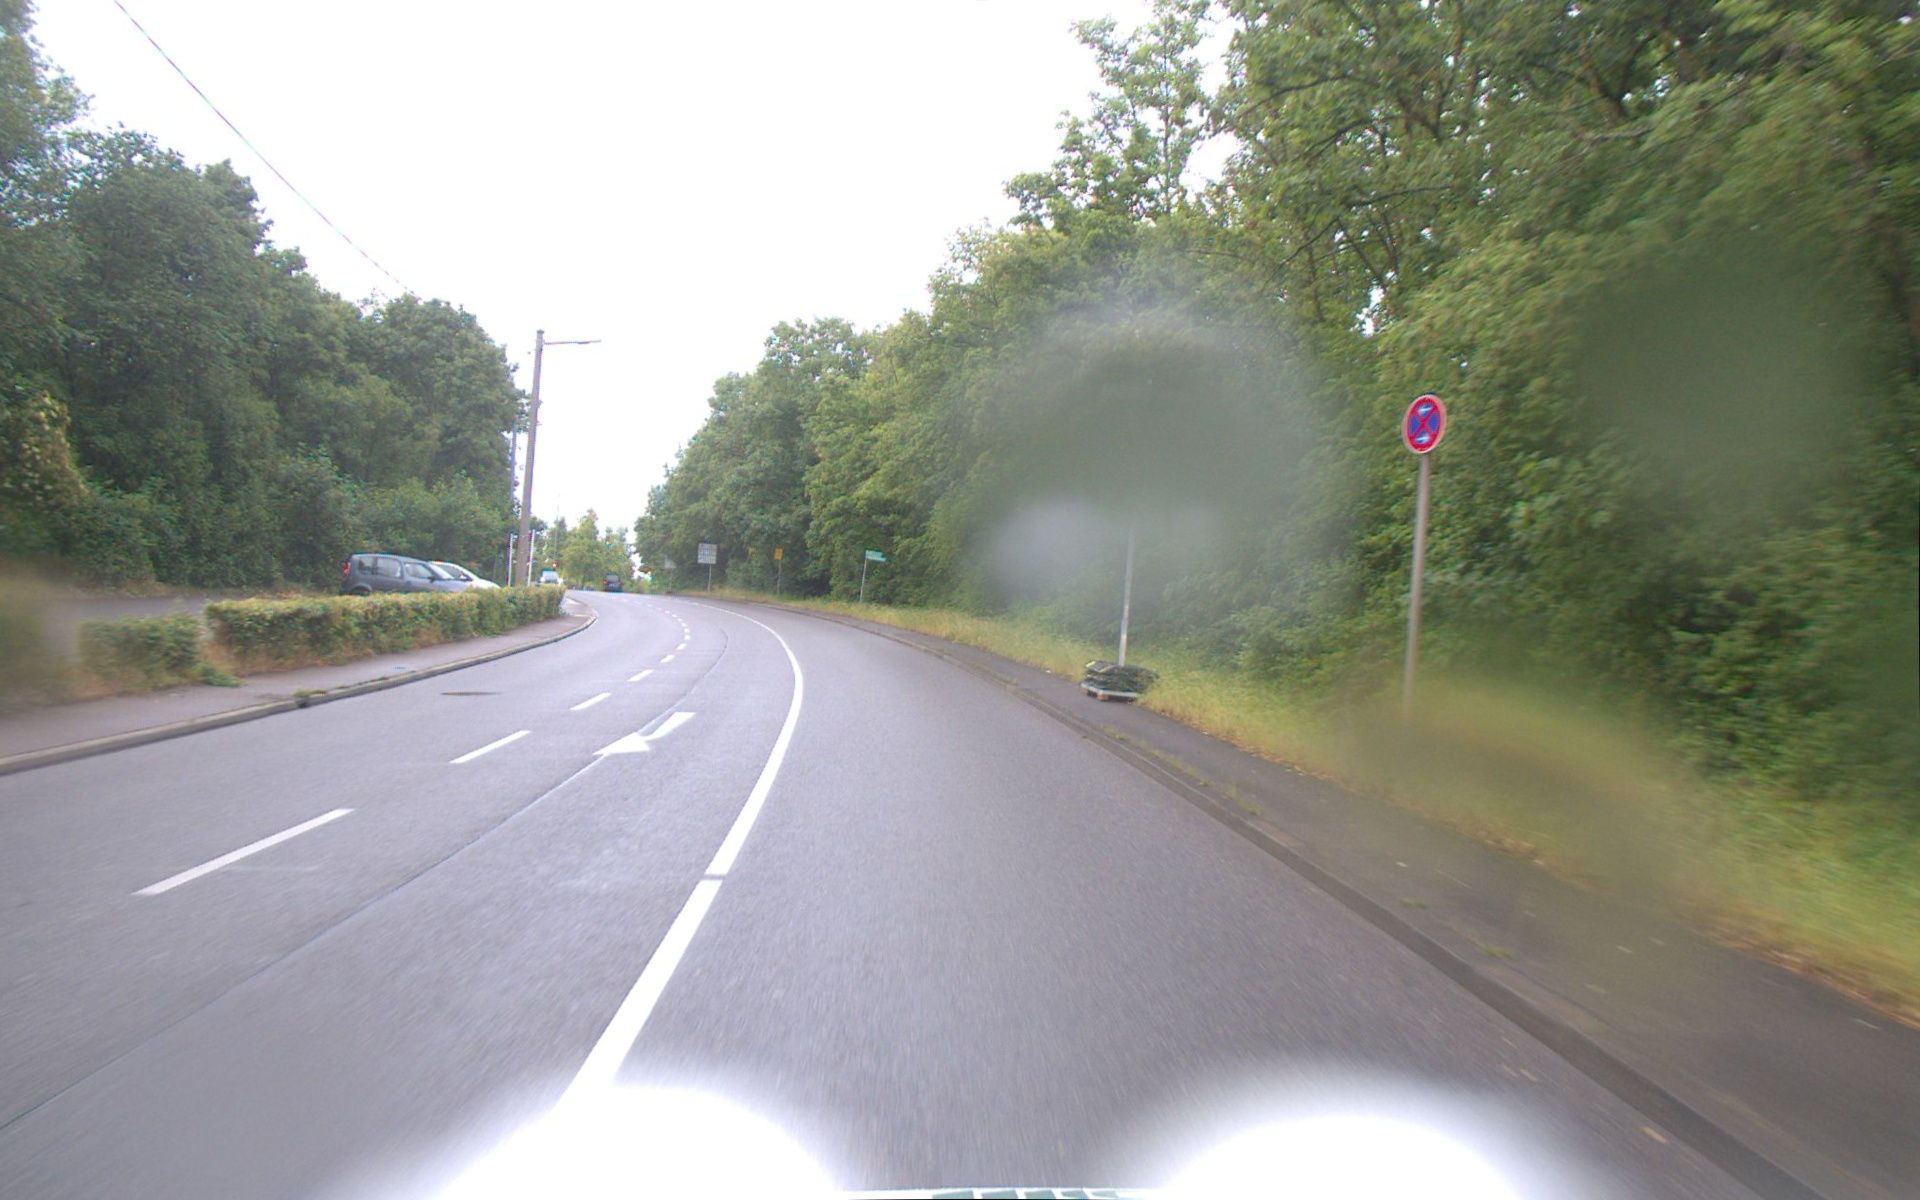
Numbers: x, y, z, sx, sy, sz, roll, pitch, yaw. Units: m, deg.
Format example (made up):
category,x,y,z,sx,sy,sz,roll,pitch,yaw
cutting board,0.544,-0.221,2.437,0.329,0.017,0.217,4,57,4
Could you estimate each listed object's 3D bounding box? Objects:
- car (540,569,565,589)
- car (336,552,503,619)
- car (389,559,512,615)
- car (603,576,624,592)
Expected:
category,x,y,z,sx,sy,sz,roll,pitch,yaw
car,-33.808,-1.760,137.239,1.903,1.524,4.301,2,0,-15
car,-15.738,-0.410,48.345,4.207,1.738,1.998,2,0,-5
car,-16.566,-0.418,53.931,3.581,1.619,1.846,2,0,-12
car,-35.526,-1.670,169.619,1.899,1.524,4.309,2,0,-9
